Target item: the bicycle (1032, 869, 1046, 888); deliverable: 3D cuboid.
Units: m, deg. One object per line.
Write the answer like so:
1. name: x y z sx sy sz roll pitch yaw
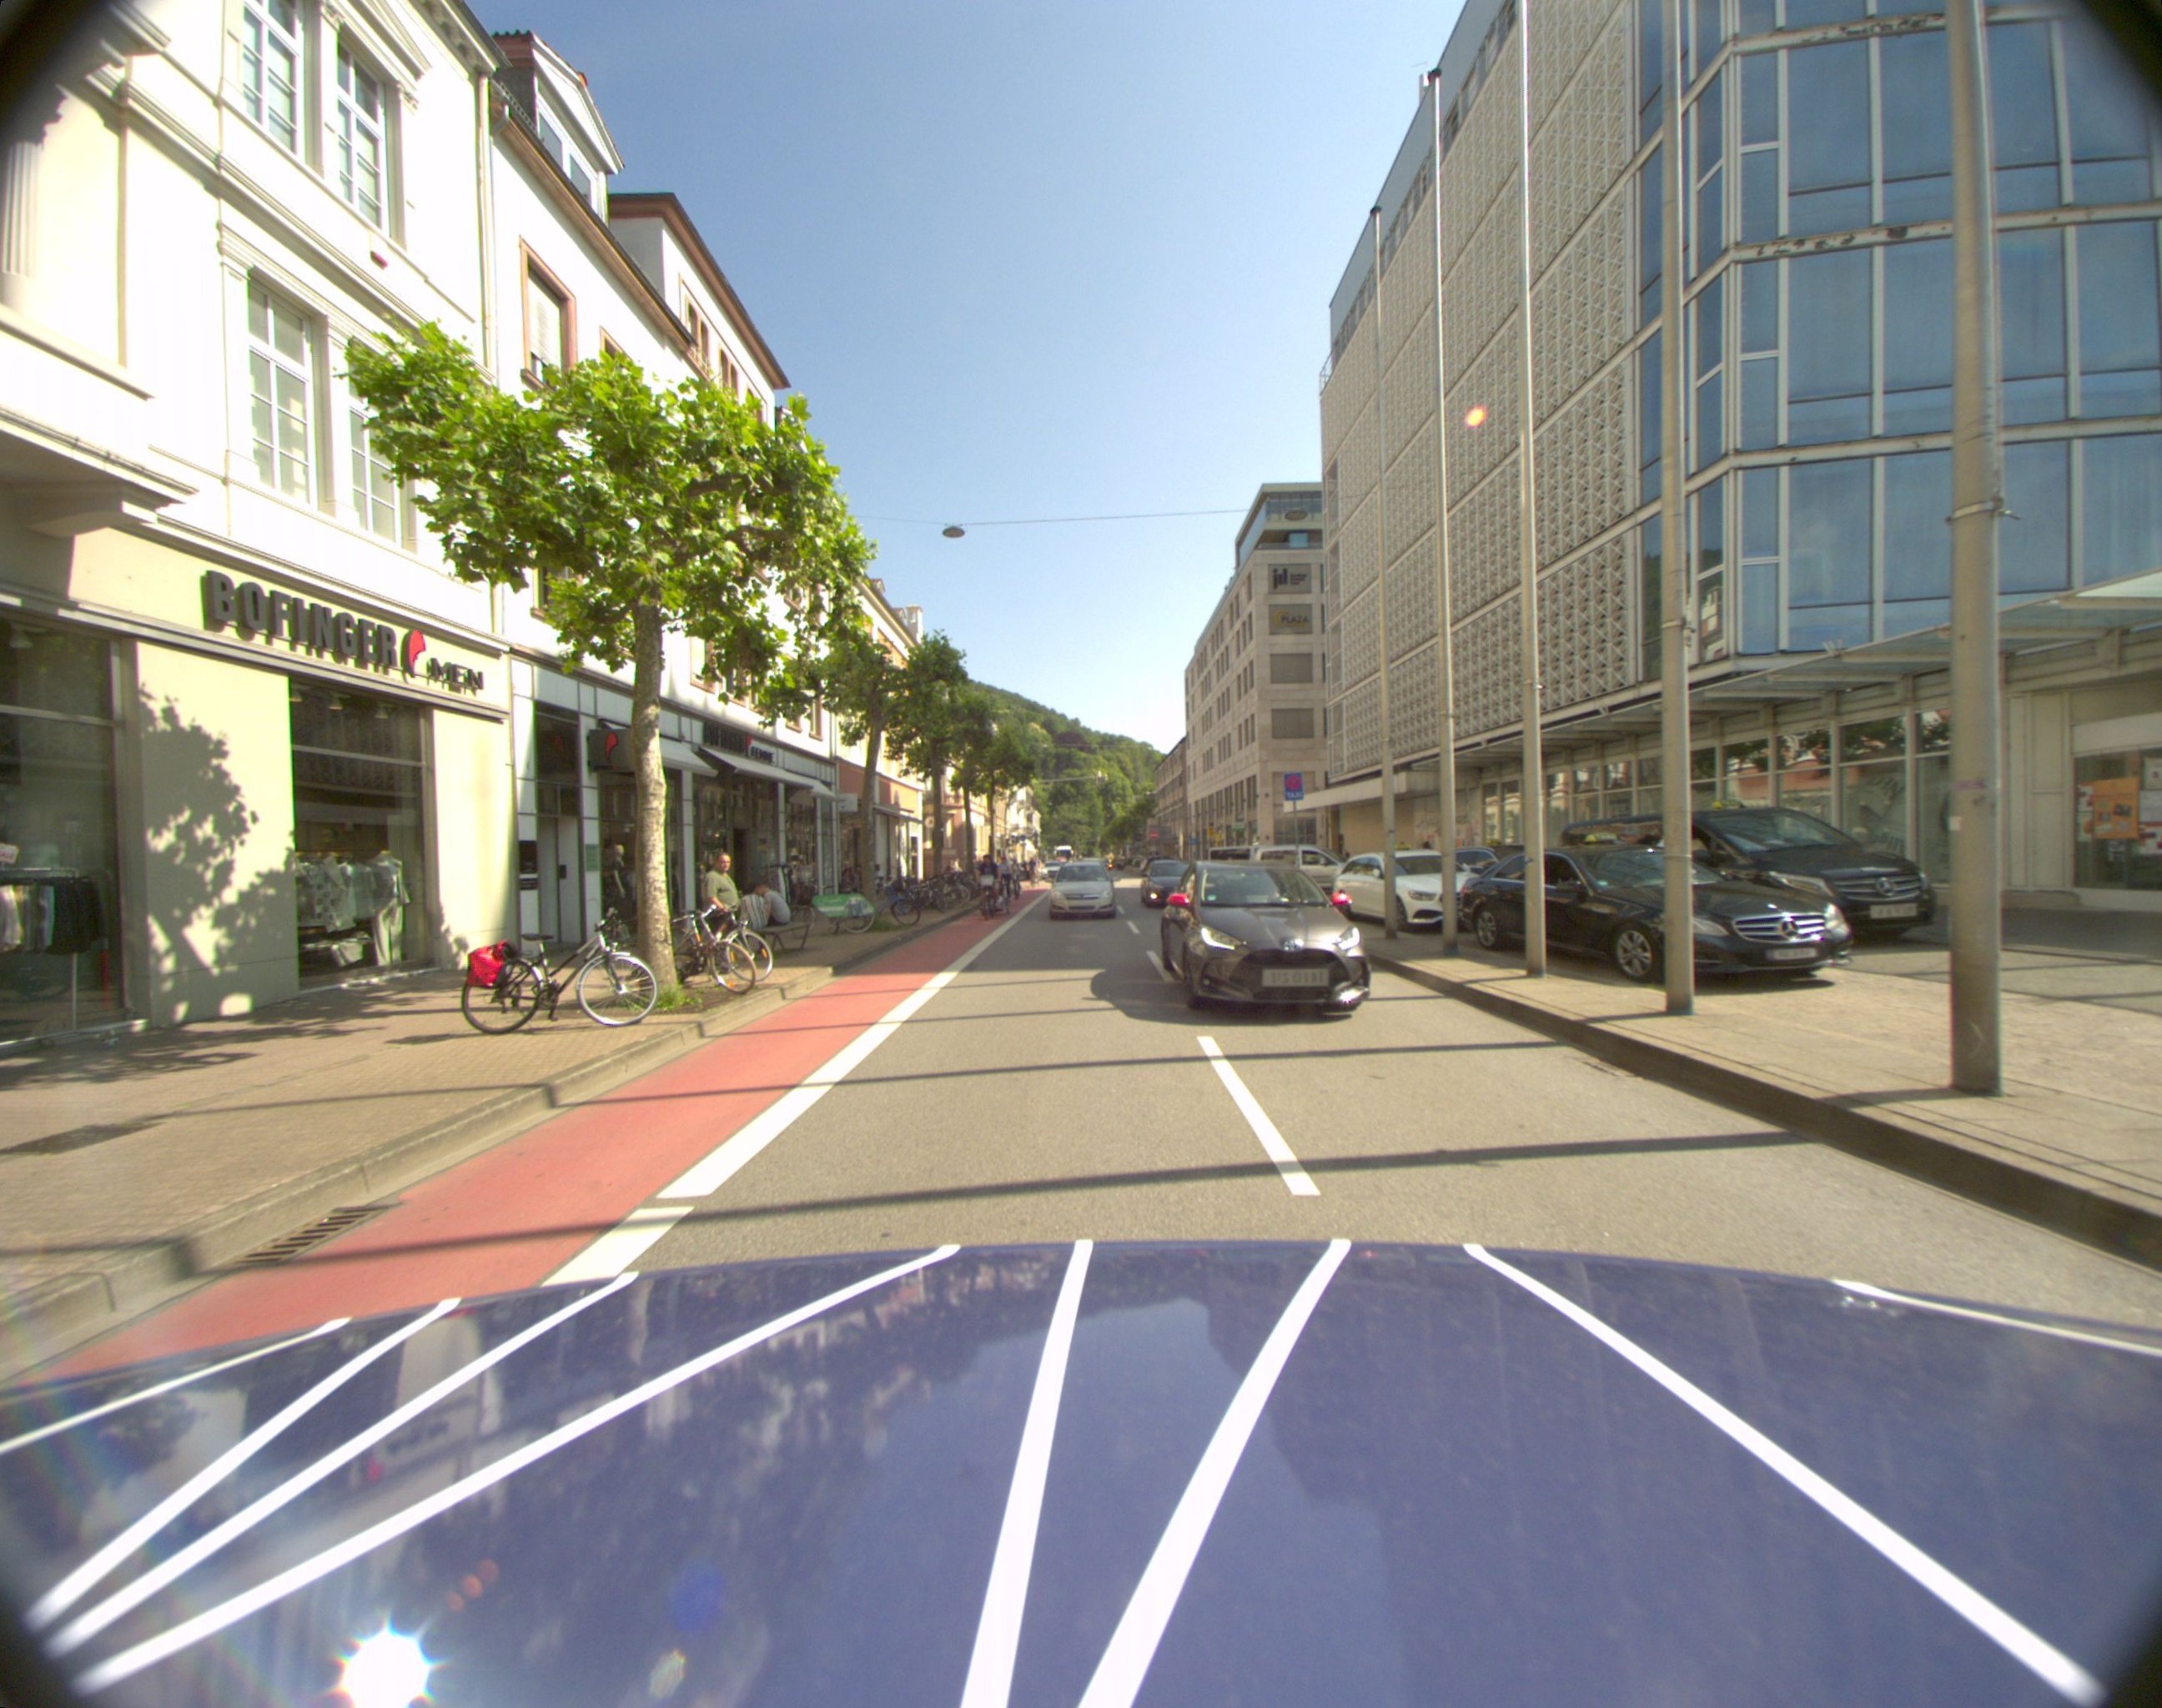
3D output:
1. bicycle: -2.544 1.443 45.754 0.664 1.111 1.992 -1 -1 2

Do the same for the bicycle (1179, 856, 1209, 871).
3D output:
1. bicycle: 9.167 0.767 61.703 2.324 1.120 0.563 -3 0 25

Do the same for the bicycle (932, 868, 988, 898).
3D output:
1. bicycle: -4.784 1.157 30.065 1.988 1.120 0.762 -1 2 13

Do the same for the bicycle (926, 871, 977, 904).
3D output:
1. bicycle: -4.578 1.163 26.788 1.841 1.120 0.449 0 2 28

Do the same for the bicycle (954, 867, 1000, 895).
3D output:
1. bicycle: -4.449 1.156 32.484 1.844 1.120 0.530 -1 2 2

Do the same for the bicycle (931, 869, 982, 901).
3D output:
1. bicycle: -4.805 1.186 29.352 1.843 1.120 0.530 -3 1 13

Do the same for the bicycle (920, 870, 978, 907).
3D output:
1. bicycle: -4.471 1.153 25.757 1.849 1.120 0.592 -2 2 -35

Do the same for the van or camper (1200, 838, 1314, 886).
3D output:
1. van or camper: 8.077 0.399 35.117 4.648 2.002 2.004 -3 0 40

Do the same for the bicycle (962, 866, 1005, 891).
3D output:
1. bicycle: -4.486 1.131 35.035 1.844 1.120 0.643 -1 1 2

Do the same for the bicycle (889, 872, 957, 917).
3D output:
1. bicycle: -4.593 1.169 22.190 1.846 1.120 0.632 -4 1 -10

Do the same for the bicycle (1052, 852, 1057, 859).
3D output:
1. bicycle: -4.716 0.283 133.821 0.743 1.120 2.573 0 1 2

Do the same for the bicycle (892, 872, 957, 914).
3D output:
1. bicycle: -4.818 1.188 23.434 1.846 1.121 0.764 -4 2 -12

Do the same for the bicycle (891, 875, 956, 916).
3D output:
1. bicycle: -4.686 1.231 22.691 1.846 1.087 0.564 -3 1 -10

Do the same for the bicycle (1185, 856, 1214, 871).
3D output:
1. bicycle: 9.237 0.767 59.198 2.059 1.120 0.648 -2 0 27

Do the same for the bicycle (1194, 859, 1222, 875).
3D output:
1. bicycle: 9.258 0.940 55.607 1.990 1.120 0.800 -1 0 7

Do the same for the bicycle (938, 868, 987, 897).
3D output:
1. bicycle: -4.837 1.162 31.059 1.844 1.121 0.679 -1 3 3

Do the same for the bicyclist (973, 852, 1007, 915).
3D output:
1. bicyclist: -2.463 0.780 20.649 0.732 1.664 0.775 0 1 9

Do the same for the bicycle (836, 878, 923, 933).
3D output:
1. bicycle: -4.681 1.188 17.736 1.845 1.120 0.497 -4 0 -7

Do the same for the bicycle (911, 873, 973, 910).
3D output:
1. bicycle: -4.460 1.200 24.402 1.844 1.087 0.564 -3 1 1

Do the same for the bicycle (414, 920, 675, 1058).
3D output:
1. bicycle: -4.886 1.213 6.991 1.844 1.091 0.794 -2 1 6

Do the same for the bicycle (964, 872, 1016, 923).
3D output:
1. bicycle: -2.447 1.151 20.701 0.733 1.261 2.284 -2 -1 9

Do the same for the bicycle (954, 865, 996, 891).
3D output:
1. bicycle: -4.975 1.128 35.816 1.844 1.120 0.666 -1 1 2

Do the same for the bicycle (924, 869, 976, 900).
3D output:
1. bicycle: -4.915 1.154 28.552 1.844 1.120 0.448 -1 2 3

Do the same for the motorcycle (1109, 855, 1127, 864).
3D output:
1. motorcycle: 6.209 0.924 127.599 0.980 1.342 3.094 -1 0 -43

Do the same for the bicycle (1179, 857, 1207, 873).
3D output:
1. bicycle: 8.578 0.833 58.062 2.058 1.162 0.606 0 1 37

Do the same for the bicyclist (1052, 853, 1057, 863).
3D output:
1. bicyclist: -4.686 0.722 134.072 0.747 1.693 1.036 0 1 1

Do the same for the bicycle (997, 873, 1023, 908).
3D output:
1. bicycle: -2.458 1.244 26.553 0.737 1.120 2.033 -1 0 -1

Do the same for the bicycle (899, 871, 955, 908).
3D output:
1. bicycle: -5.219 1.196 25.818 1.849 1.120 0.447 -2 2 -36

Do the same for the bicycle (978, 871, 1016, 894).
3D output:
1. bicycle: -4.338 1.469 39.496 1.855 0.396 1.014 -9 35 5

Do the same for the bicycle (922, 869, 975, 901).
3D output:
1. bicycle: -4.902 1.157 28.092 1.844 1.120 0.448 -1 2 3

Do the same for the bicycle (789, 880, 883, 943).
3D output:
1. bicycle: -5.180 1.193 16.077 1.783 1.190 0.576 -2 1 -27

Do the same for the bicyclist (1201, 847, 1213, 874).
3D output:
1. bicyclist: 9.210 0.459 55.579 0.843 1.948 1.017 -1 1 6

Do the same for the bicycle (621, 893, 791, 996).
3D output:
1. bicycle: -4.767 1.146 9.710 1.843 1.190 0.674 -2 1 8

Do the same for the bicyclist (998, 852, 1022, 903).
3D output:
1. bicyclist: -2.470 0.799 26.525 0.684 1.707 0.844 -2 1 0

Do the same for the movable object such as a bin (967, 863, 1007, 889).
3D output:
1. movable object such as a bin: -4.733 1.101 38.254 1.853 1.182 0.653 -3 0 16

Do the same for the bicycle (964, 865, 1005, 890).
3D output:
1. bicycle: -4.646 1.115 36.613 1.844 1.120 0.666 -1 1 2

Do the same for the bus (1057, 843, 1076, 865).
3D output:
1. bus: -2.481 -0.076 127.527 2.924 3.516 12.497 -1 1 -1

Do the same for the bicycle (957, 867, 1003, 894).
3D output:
1. bicycle: -4.401 1.150 33.129 1.844 1.120 0.666 -1 1 2

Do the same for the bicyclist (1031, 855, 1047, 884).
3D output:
1. bicyclist: -2.533 0.922 45.845 0.840 1.707 0.844 0 1 1

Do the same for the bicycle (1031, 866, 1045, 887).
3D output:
1. bicycle: -2.409 1.245 42.480 0.607 1.120 1.859 0 2 2

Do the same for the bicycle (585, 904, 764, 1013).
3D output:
1. bicycle: -4.612 1.187 8.643 1.843 1.120 0.498 -3 1 12
